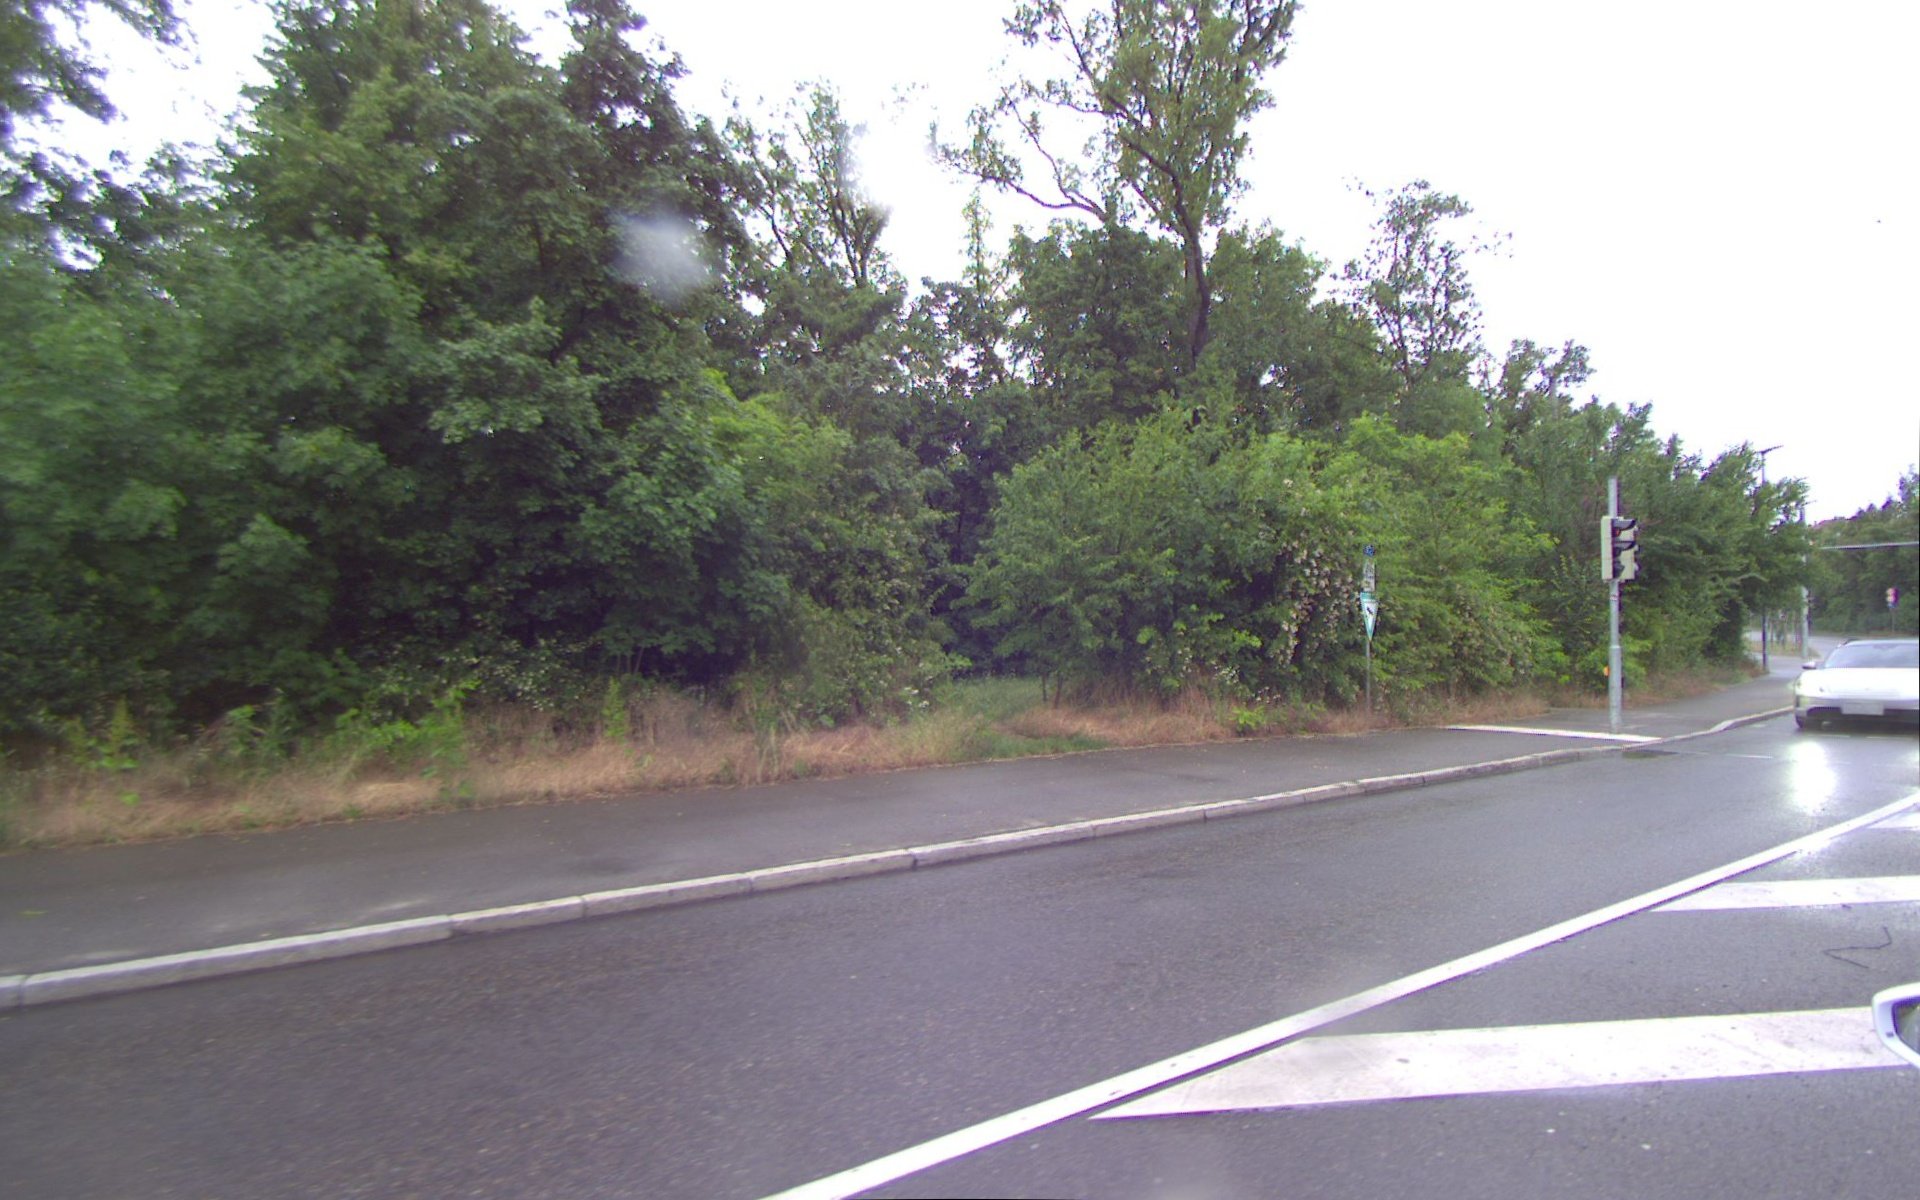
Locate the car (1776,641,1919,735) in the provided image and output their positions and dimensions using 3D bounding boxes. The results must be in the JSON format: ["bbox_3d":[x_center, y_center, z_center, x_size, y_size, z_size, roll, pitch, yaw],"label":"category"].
[{"bbox_3d":[15.151,1.358,16.468,4.324,1.328,1.977,1,-4,-41],"label":"car"}]
